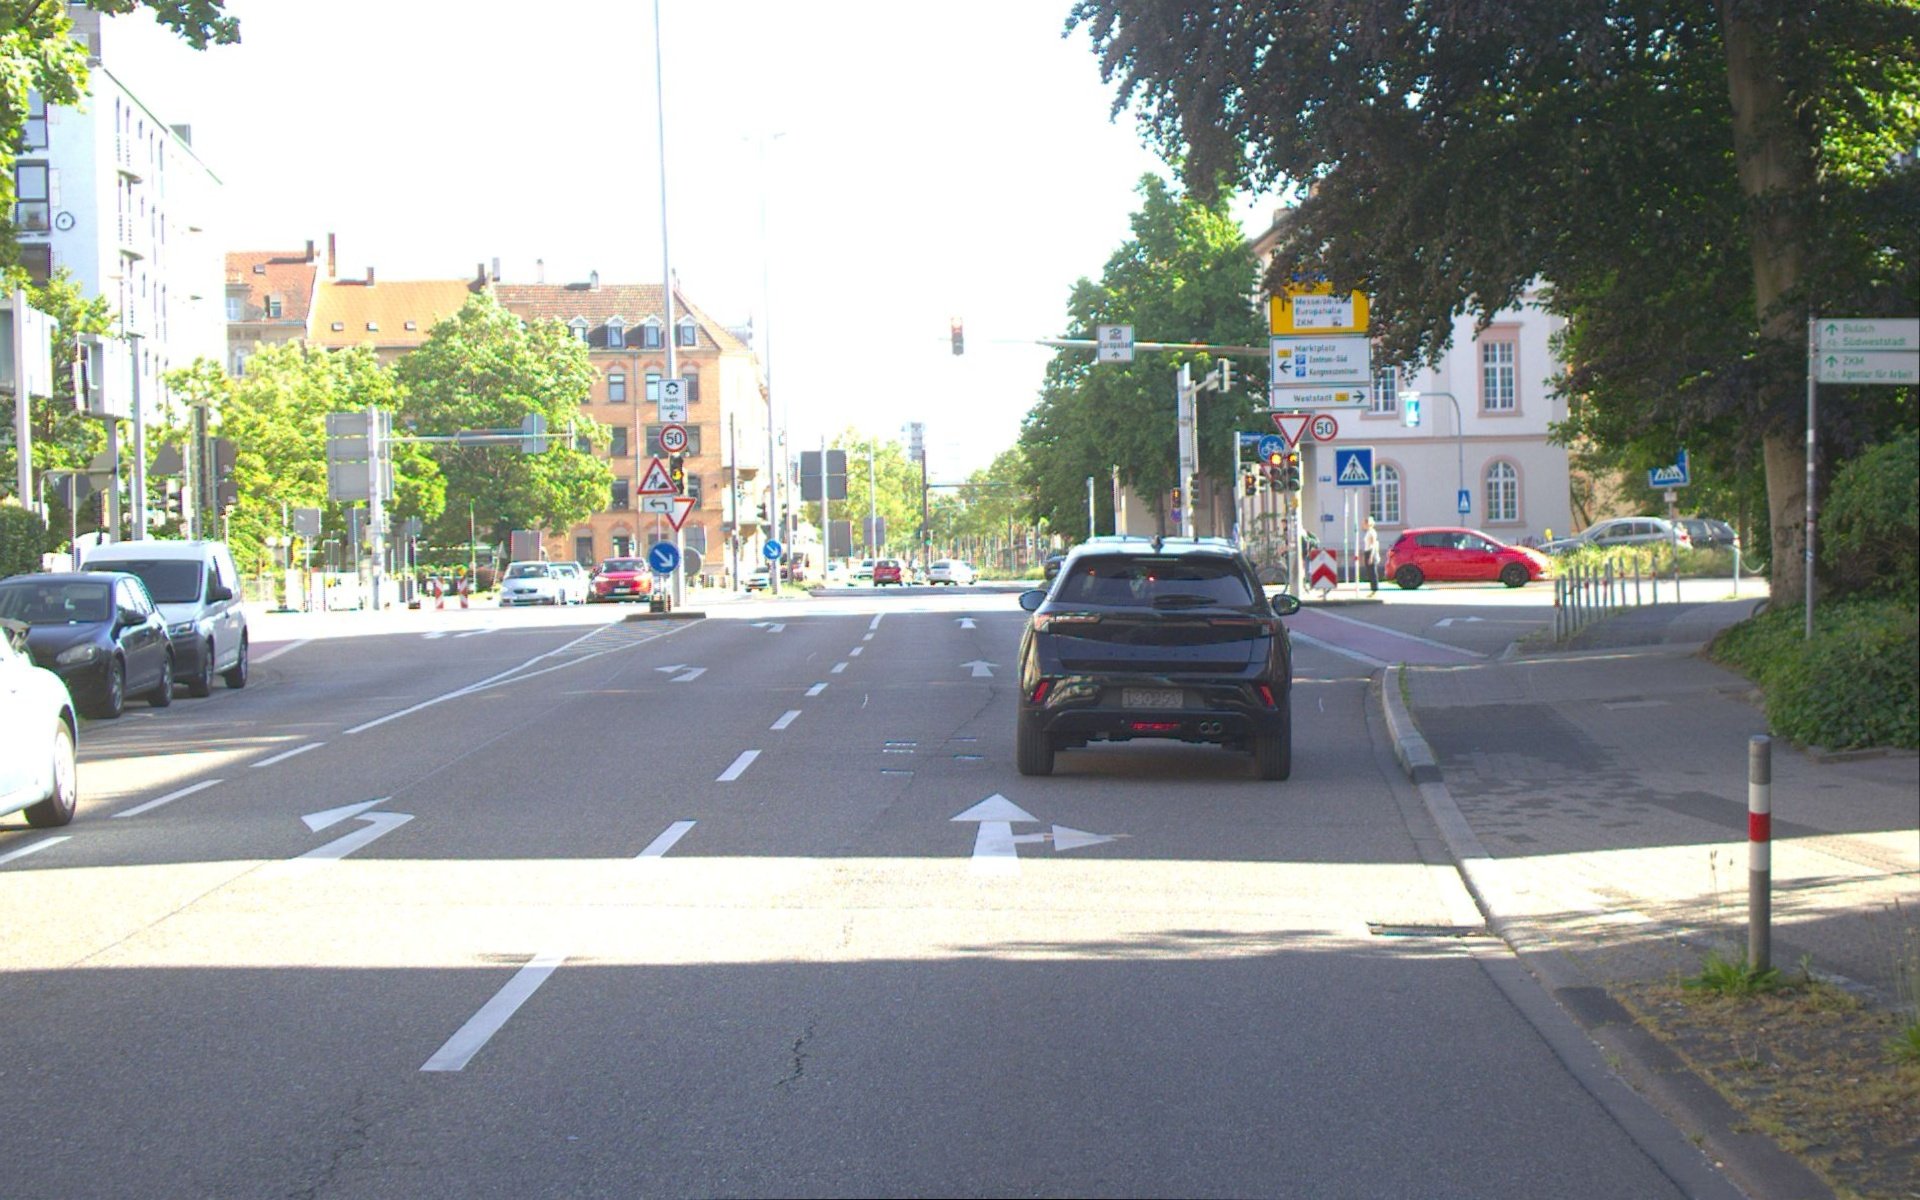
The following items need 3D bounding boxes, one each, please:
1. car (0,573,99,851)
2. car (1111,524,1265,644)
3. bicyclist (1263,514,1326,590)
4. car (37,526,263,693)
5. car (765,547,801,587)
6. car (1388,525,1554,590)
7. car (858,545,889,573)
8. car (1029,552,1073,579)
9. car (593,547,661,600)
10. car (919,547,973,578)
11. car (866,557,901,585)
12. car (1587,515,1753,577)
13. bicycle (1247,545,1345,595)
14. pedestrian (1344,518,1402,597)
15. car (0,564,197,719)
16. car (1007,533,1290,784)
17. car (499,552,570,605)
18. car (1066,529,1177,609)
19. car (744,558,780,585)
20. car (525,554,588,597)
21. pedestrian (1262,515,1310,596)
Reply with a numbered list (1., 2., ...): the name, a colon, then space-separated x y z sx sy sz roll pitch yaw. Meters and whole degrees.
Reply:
1. car: -5.819 0.627 17.958 1.737 1.377 3.937 -3 2 -2
2. car: 3.193 -0.260 48.831 1.830 1.573 3.840 -2 1 -1
3. bicyclist: 7.276 -1.049 74.790 1.164 1.628 0.729 -1 1 -15
4. car: -9.527 0.063 40.773 1.818 1.827 4.563 -1 1 -3
5. car: -9.703 -1.843 189.065 1.810 2.127 4.000 -2 1 -1
6. car: 12.321 -1.038 82.849 3.874 1.447 1.777 -1 1 9
7. car: -5.229 -2.487 207.585 1.810 1.628 4.000 -2 1 -1
8. car: 5.782 -2.196 217.997 1.862 1.654 3.997 1 1 16
9. car: -10.631 -0.859 109.878 1.791 1.611 4.000 -2 1 -1
10. car: -0.793 -2.192 199.510 2.176 1.692 3.998 -1 1 14
11. car: -4.110 -1.592 185.610 1.810 1.402 4.000 -2 1 -1
12. car: 19.661 -1.501 95.289 4.113 1.596 1.823 -2 1 -7
13. bicycle: 7.319 -0.650 74.821 2.031 1.057 0.622 -1 1 -16
14. pedestrian: 8.819 -0.916 73.460 1.040 1.654 0.784 -2 1 -5
15. car: -9.162 0.388 35.478 1.671 1.451 4.111 -1 1 -1
16. car: 1.204 0.336 23.281 1.745 1.568 3.558 0 1 0
17. car: -13.793 -0.702 111.661 1.874 1.611 4.000 -2 1 -1
18. car: 3.055 -0.617 65.660 1.830 1.447 3.988 -2 1 -1
19. car: -11.307 -1.641 196.731 1.874 1.443 4.000 -2 1 -1
20. car: -14.658 -0.909 125.024 1.874 1.443 4.000 -2 1 -1
21. pedestrian: 6.869 -0.943 72.486 0.825 1.696 0.918 -1 1 -6
